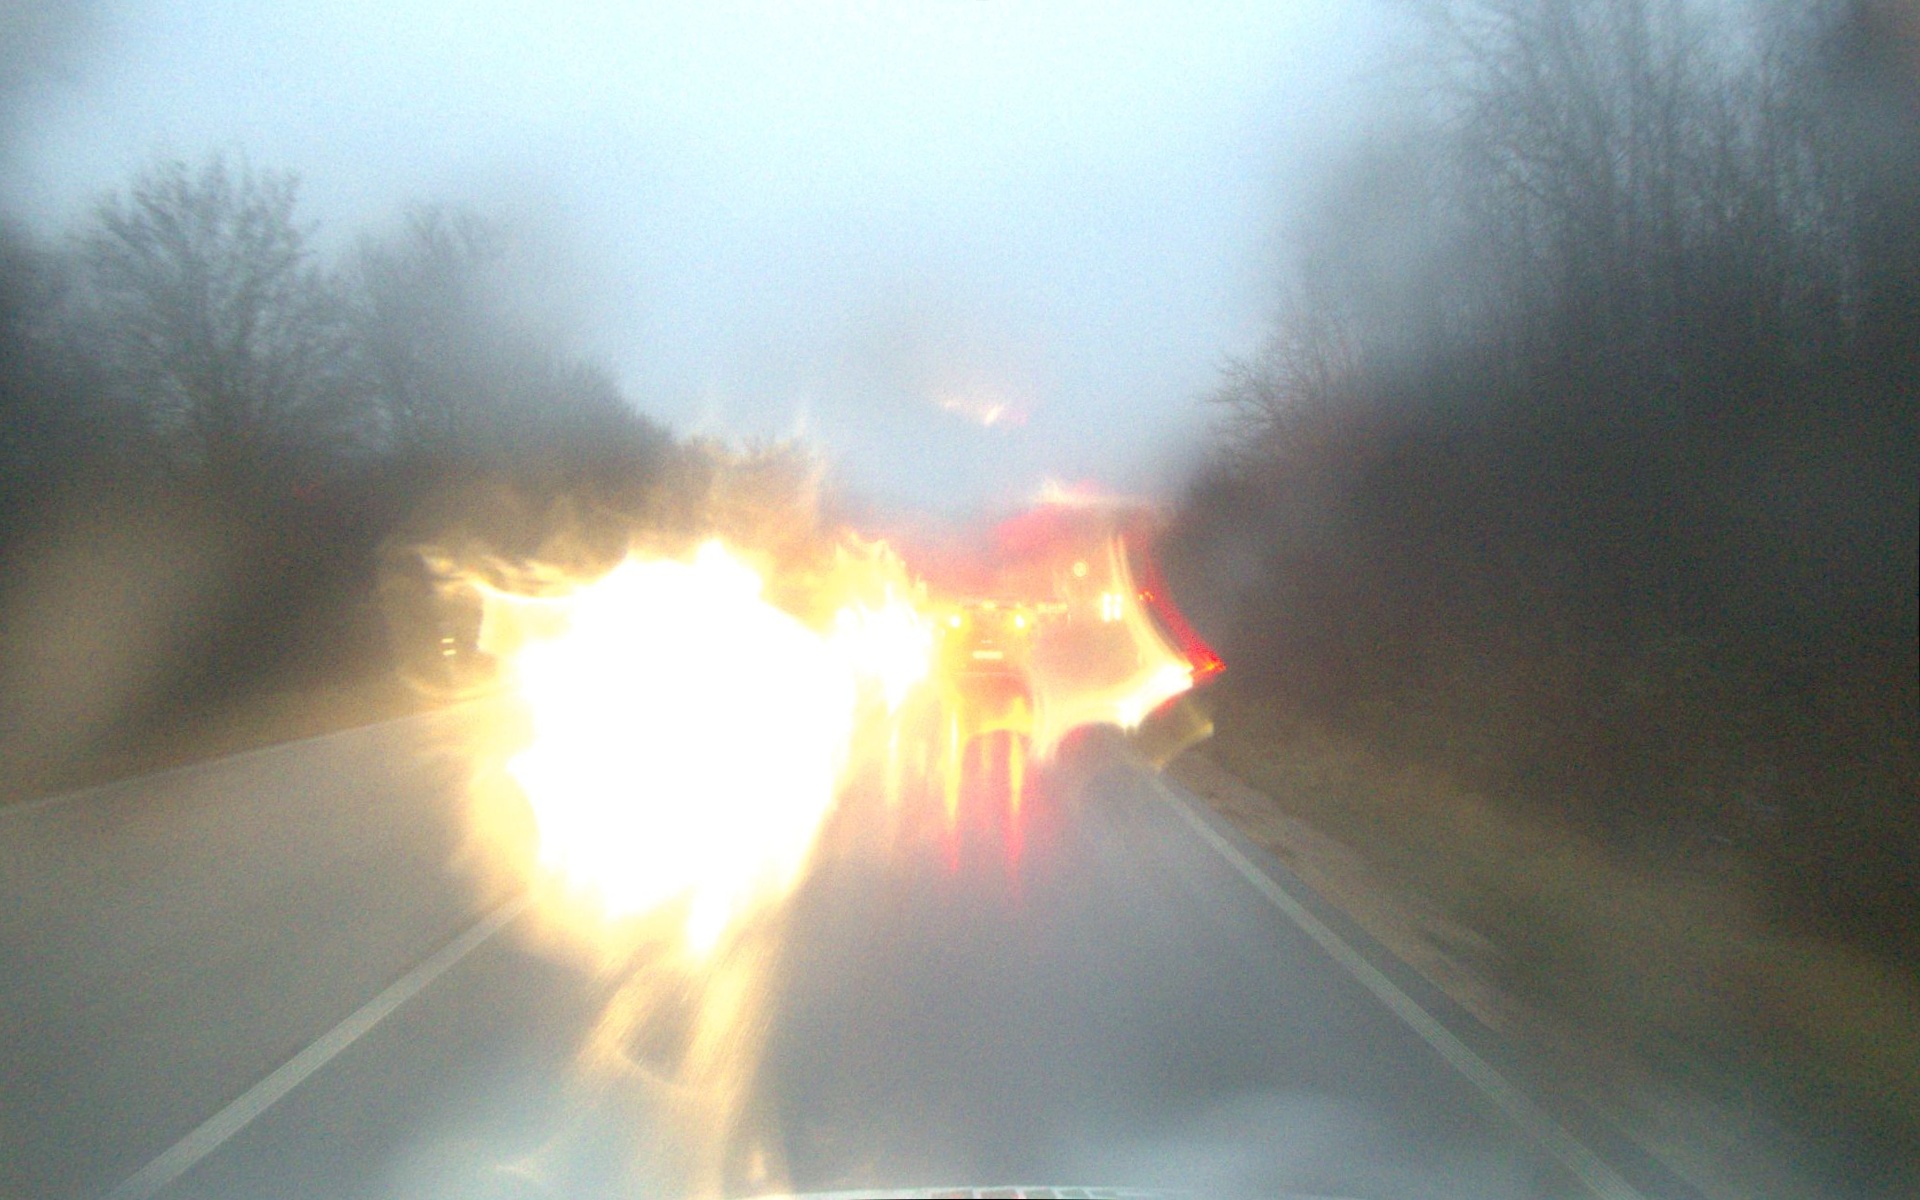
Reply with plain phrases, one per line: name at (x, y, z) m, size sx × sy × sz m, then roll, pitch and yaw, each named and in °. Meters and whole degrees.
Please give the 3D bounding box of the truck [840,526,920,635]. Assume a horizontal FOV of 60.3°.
truck at (-2.882, -0.714, 61.586) m, size 2.765 × 3.781 × 8.531 m, roll 0°, pitch 0°, yaw -2°

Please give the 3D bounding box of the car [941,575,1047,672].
car at (0.571, 0.389, 30.907) m, size 1.693 × 1.672 × 3.998 m, roll 0°, pitch 0°, yaw -3°

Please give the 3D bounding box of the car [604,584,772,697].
car at (-3.993, 0.541, 24.959) m, size 1.709 × 1.499 × 4.484 m, roll 2°, pitch 0°, yaw 0°

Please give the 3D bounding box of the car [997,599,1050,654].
car at (2.496, 1.000, 64.222) m, size 1.952 × 2.049 × 4.002 m, roll 0°, pitch 0°, yaw 4°
